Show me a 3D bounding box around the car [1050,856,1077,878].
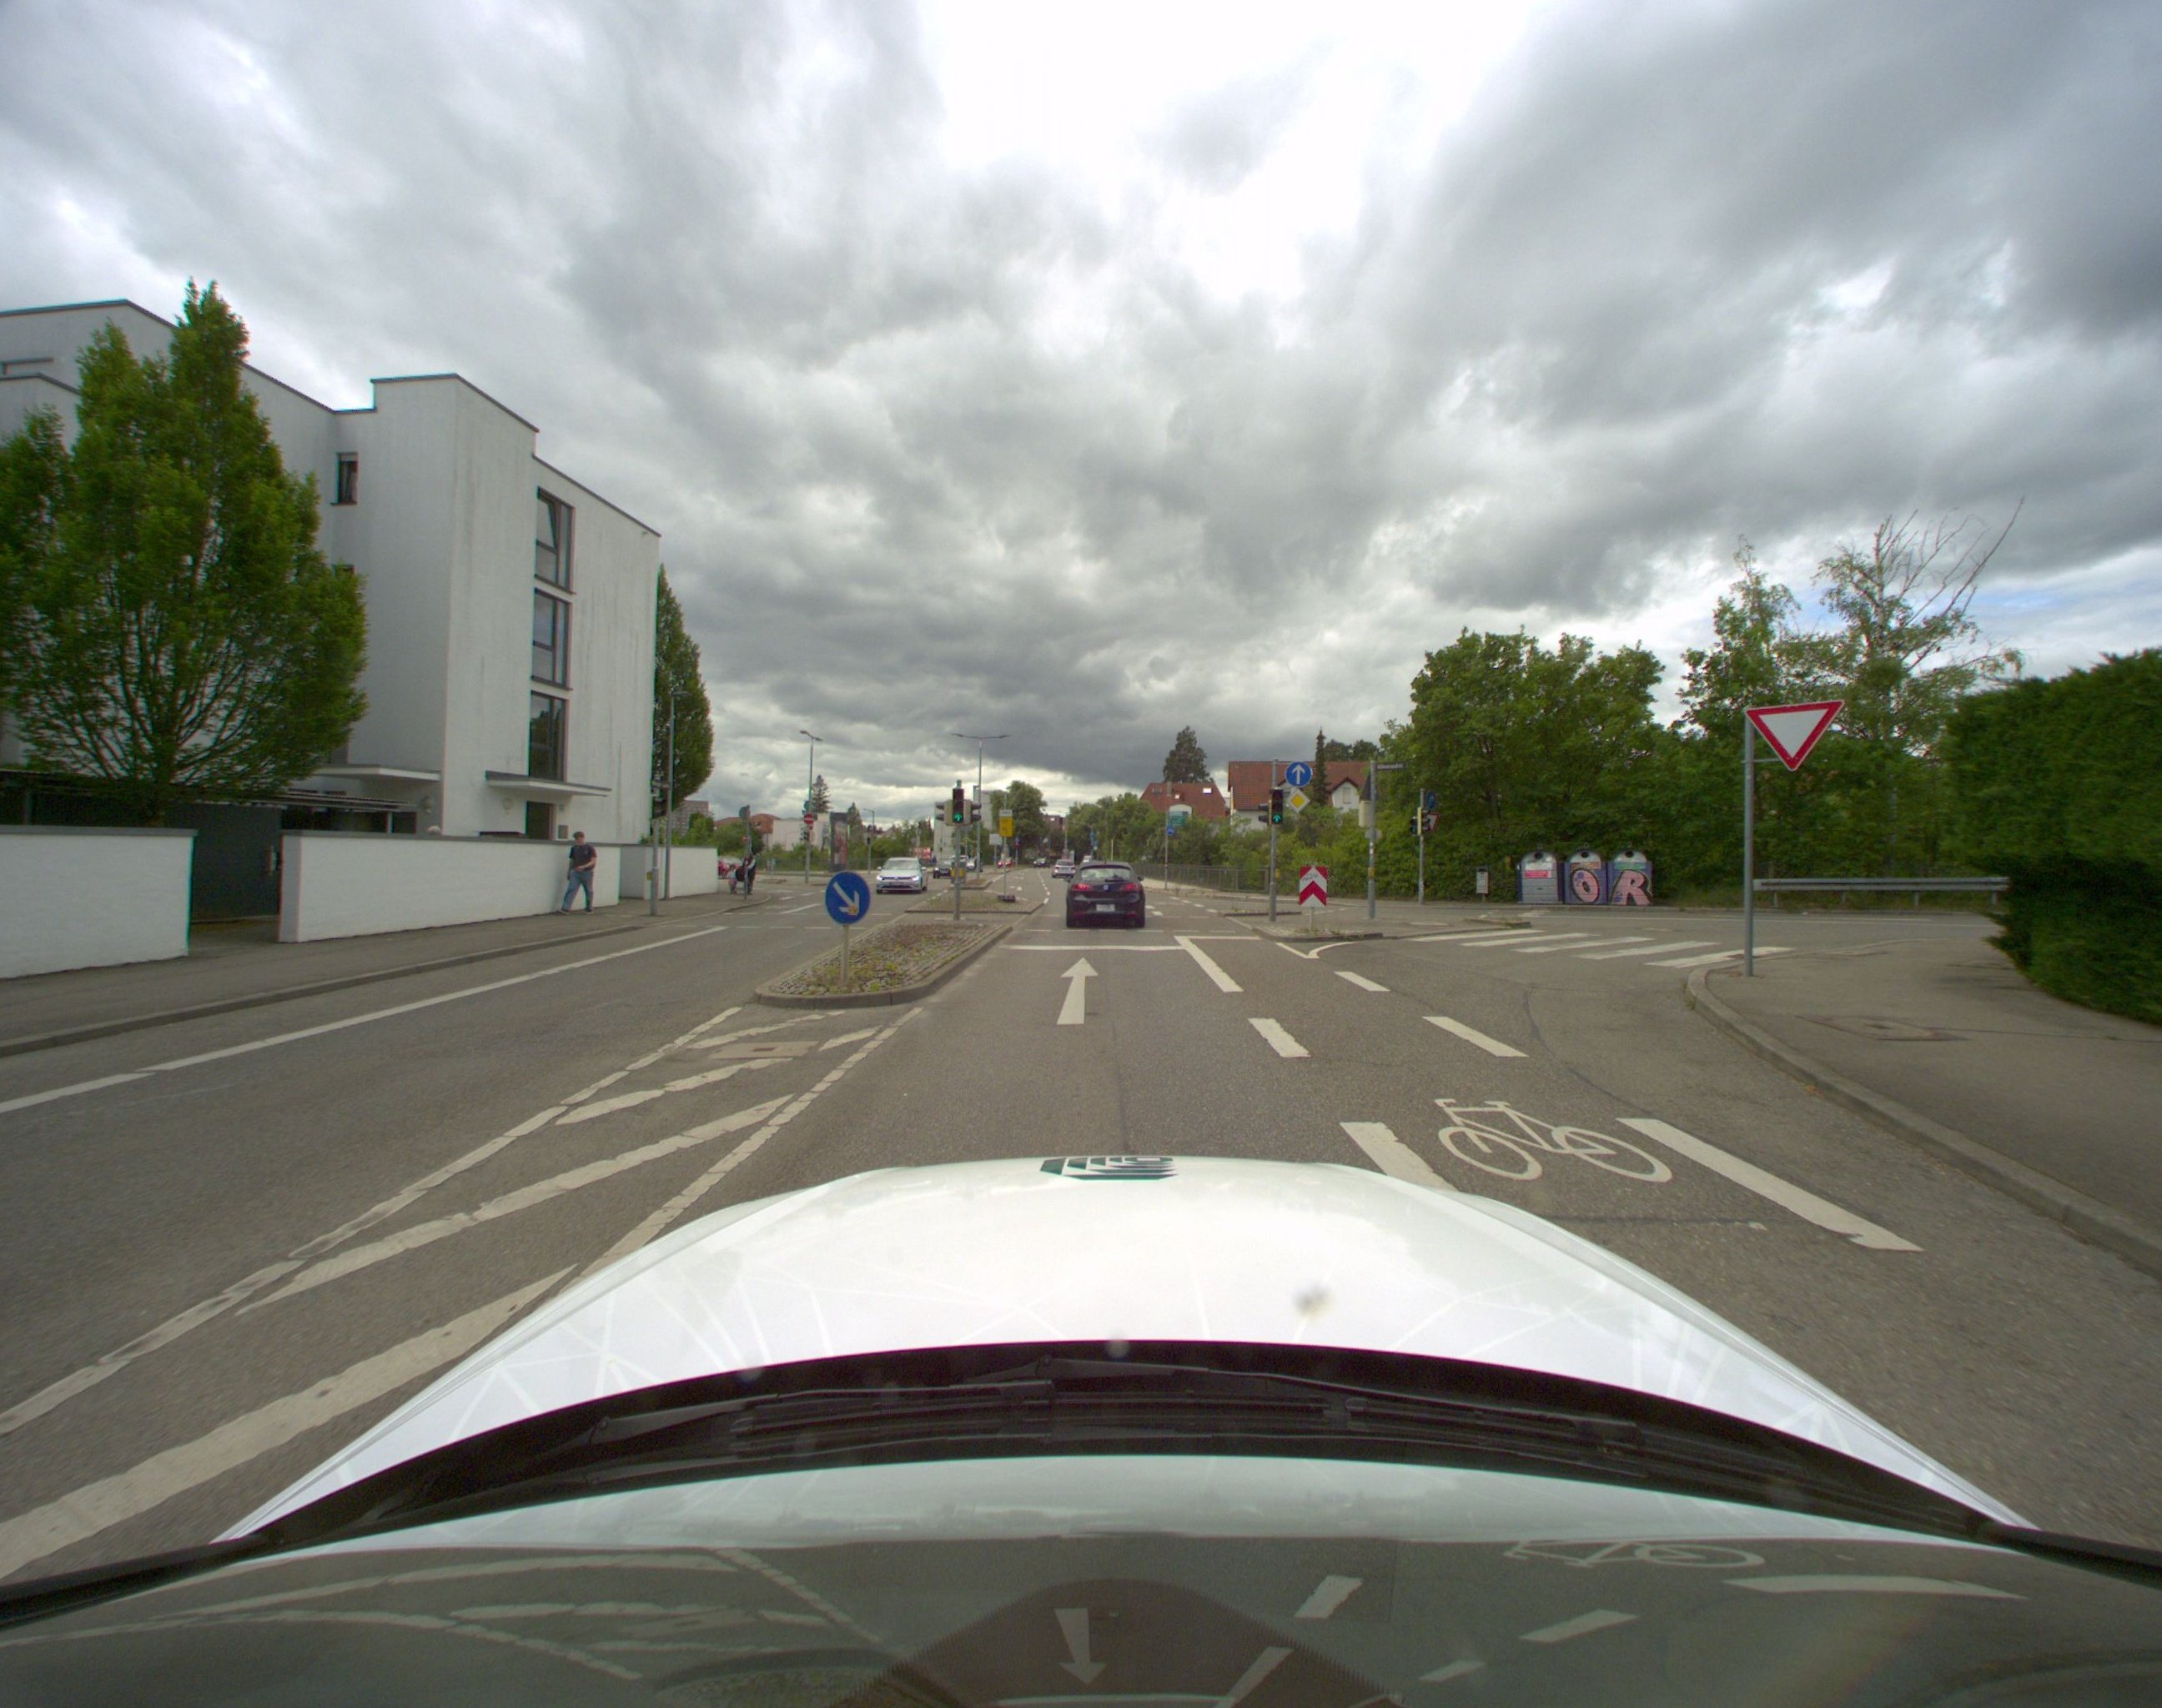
[{"bbox_3d":[-1.435,0.992,65.454,1.816,1.699,4.245,0,0,-5],"label":"car"}]

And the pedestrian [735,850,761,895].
[{"bbox_3d":[-12.031,0.662,29.437,0.530,1.543,0.730,5,-1,-6],"label":"pedestrian"}]

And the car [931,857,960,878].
[{"bbox_3d":[-9.580,0.959,57.735,1.718,1.391,3.911,-1,0,-5],"label":"car"}]

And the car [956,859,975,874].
[{"bbox_3d":[-11.444,1.202,80.571,1.640,1.409,3.812,1,-1,-5],"label":"car"}]

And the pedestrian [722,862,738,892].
[{"bbox_3d":[-12.717,0.820,29.492,0.325,1.062,0.443,4,-1,-5],"label":"pedestrian"}]

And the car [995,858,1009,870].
[{"bbox_3d":[-10.285,1.333,106.543,1.718,1.448,4.059,1,-1,-5],"label":"car"}]

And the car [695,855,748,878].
[{"bbox_3d":[-24.024,0.836,54.378,3.655,1.447,1.786,-1,-1,40],"label":"car"}]

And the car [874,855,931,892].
[{"bbox_3d":[-7.318,0.794,33.717,1.795,1.444,3.941,0,-1,-5],"label":"car"}]

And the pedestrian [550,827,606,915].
[{"bbox_3d":[-11.571,0.394,18.750,0.647,1.948,0.871,3,-1,-3],"label":"pedestrian"}]

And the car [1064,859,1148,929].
[{"bbox_3d":[0.534,0.840,18.898,1.753,1.449,3.714,0,0,0],"label":"car"}]

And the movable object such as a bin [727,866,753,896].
[{"bbox_3d":[-11.969,0.940,28.616,0.496,0.960,0.984,5,-1,-5],"label":"movable object such as a bin"}]

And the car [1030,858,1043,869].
[{"bbox_3d":[-6.944,1.469,126.895,1.820,1.626,4.271,1,-1,-5],"label":"car"}]

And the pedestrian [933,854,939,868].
[{"bbox_3d":[-18.003,0.861,101.285,0.656,1.633,1.067,2,-1,-9],"label":"pedestrian"}]

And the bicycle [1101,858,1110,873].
[{"bbox_3d":[2.591,1.200,84.667,0.888,1.510,2.784,0,0,2],"label":"bicycle"}]

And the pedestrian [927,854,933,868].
[{"bbox_3d":[-18.760,0.853,101.212,0.656,1.633,0.830,2,-1,-10],"label":"pedestrian"}]
